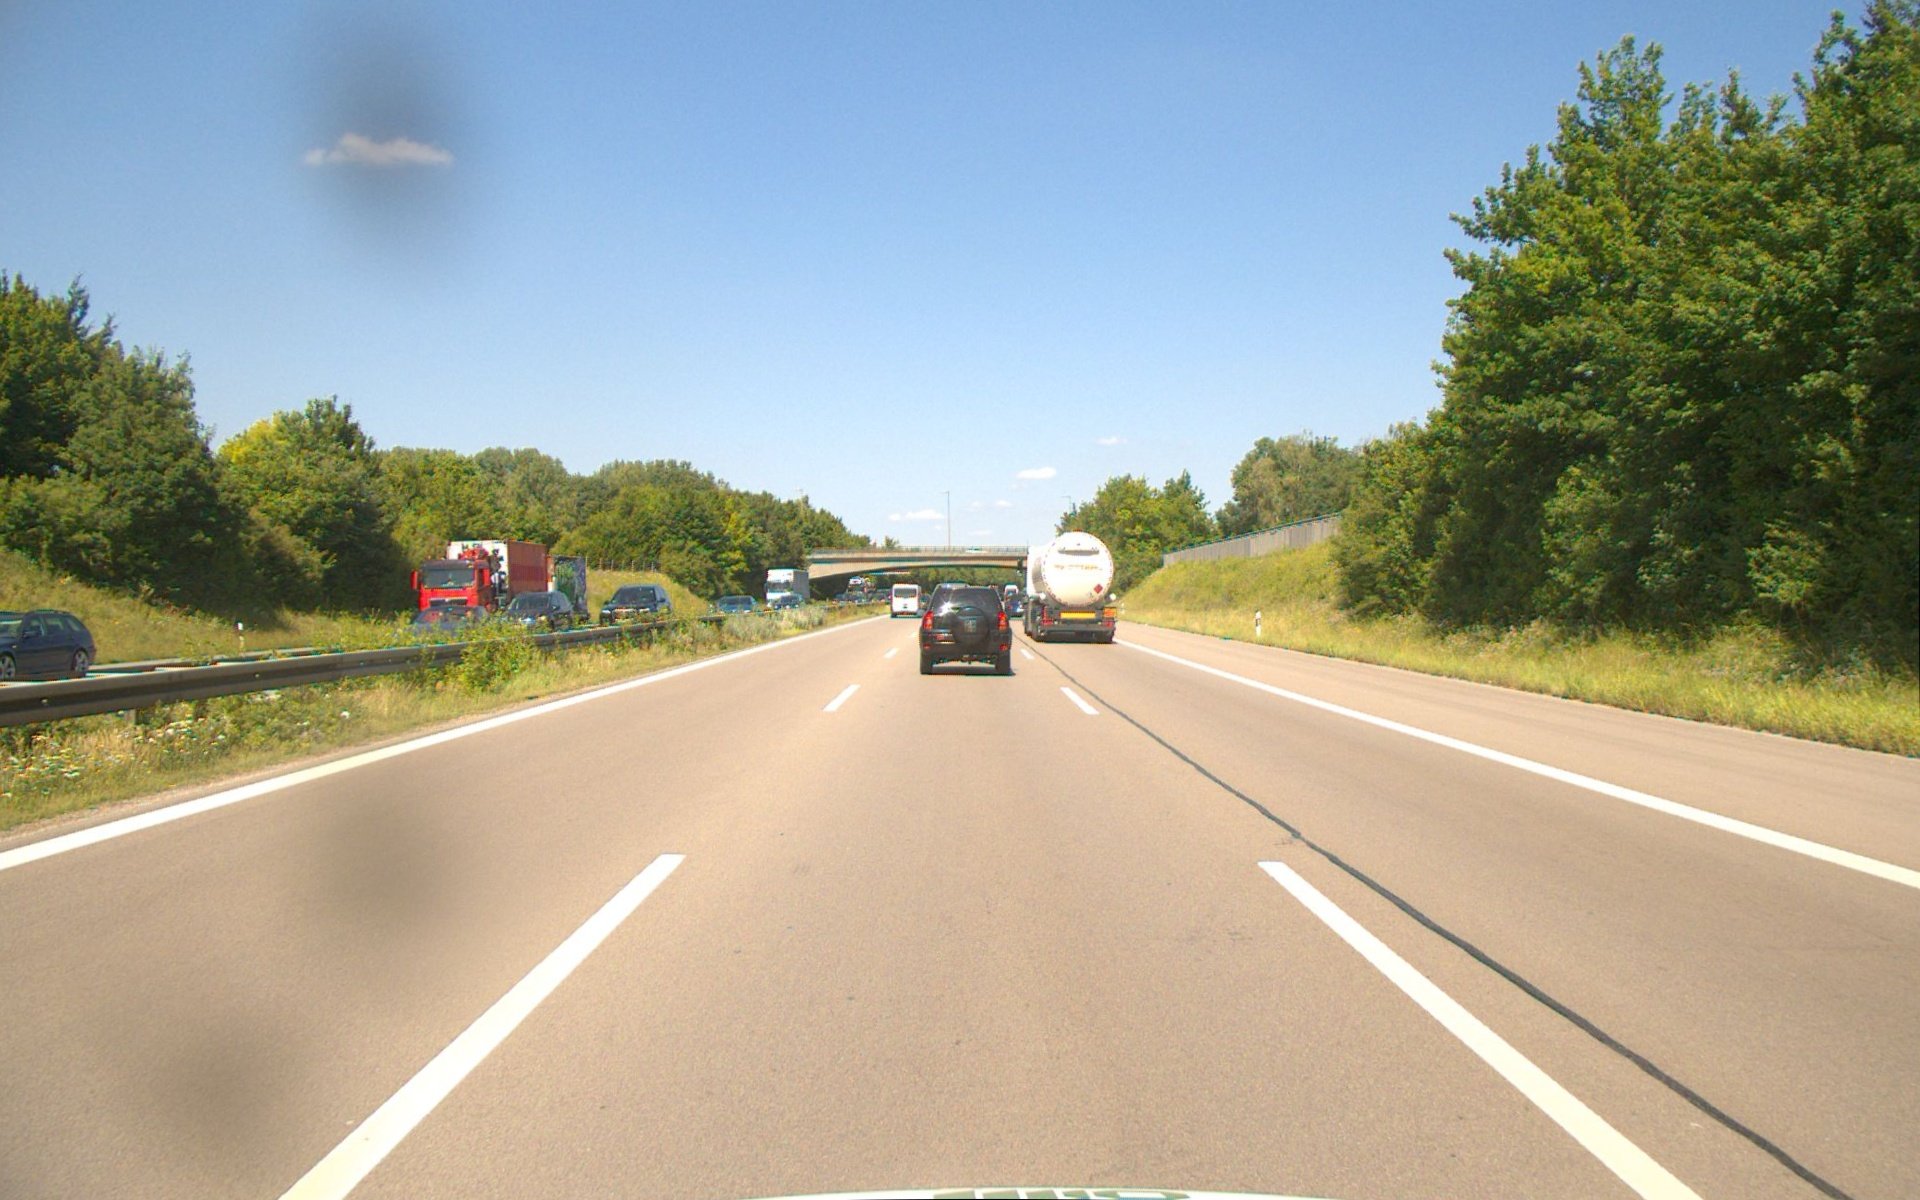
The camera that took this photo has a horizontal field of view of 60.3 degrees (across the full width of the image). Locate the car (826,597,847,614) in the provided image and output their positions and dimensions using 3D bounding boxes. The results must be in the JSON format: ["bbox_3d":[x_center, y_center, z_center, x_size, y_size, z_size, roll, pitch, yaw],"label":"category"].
[{"bbox_3d":[-13.708,0.564,184.042,1.952,1.811,4.261,-1,0,1],"label":"car"}]

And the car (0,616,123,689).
[{"bbox_3d":[-19.015,1.028,33.361,1.711,1.320,5.061,-1,0,-1],"label":"car"}]

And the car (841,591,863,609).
[{"bbox_3d":[-10.312,-0.017,158.643,1.820,1.628,4.720,-1,0,-1],"label":"car"}]

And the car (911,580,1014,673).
[{"bbox_3d":[0.065,0.486,32.358,1.867,1.694,4.000,0,0,0],"label":"car"}]

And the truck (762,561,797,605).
[{"bbox_3d":[-17.984,-1.681,165.005,2.617,4.149,6.076,-2,0,0],"label":"truck"}]

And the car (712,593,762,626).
[{"bbox_3d":[-11.224,0.453,83.509,1.795,1.593,4.956,-1,0,0],"label":"car"}]

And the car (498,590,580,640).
[{"bbox_3d":[-15.134,0.497,59.683,1.953,1.719,4.264,-1,0,-2],"label":"car"}]

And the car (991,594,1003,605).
[{"bbox_3d":[5.708,-0.097,255.852,1.775,1.777,4.000,-1,0,0],"label":"car"}]

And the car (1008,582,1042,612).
[{"bbox_3d":[3.840,-0.157,98.204,1.952,1.713,4.000,0,-1,1],"label":"car"}]

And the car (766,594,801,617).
[{"bbox_3d":[-11.928,0.355,112.178,1.857,1.452,4.763,-3,0,-1],"label":"car"}]

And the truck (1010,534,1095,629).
[{"bbox_3d":[3.442,-0.670,62.985,2.585,3.434,6.484,1,0,-2],"label":"truck"}]

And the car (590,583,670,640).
[{"bbox_3d":[-11.626,0.385,58.568,1.953,1.898,4.897,-1,0,-2],"label":"car"}]

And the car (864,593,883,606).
[{"bbox_3d":[-9.813,-0.065,188.310,1.836,1.464,5.018,-1,0,0],"label":"car"}]

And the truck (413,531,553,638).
[{"bbox_3d":[-18.714,-0.585,65.601,2.624,3.835,9.918,-2,0,0],"label":"truck"}]

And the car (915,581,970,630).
[{"bbox_3d":[-0.670,0.191,62.371,1.953,1.736,4.335,-1,0,-1],"label":"car"}]

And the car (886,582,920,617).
[{"bbox_3d":[-3.520,-0.019,102.680,1.953,2.049,4.949,-1,0,0],"label":"car"}]

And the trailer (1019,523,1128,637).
[{"bbox_3d":[3.677,-0.632,56.086,2.595,3.449,11.148,0,0,-2],"label":"trailer"}]

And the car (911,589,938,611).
[{"bbox_3d":[-2.696,-0.018,125.342,1.953,1.579,3.998,0,-1,-2],"label":"car"}]

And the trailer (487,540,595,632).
[{"bbox_3d":[-18.734,-0.607,74.510,2.624,3.835,8.406,-2,0,0],"label":"trailer"}]

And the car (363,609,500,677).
[{"bbox_3d":[-11.436,0.896,36.063,1.633,1.340,4.120,-1,0,0],"label":"car"}]

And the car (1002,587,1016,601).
[{"bbox_3d":[6.881,-0.840,230.787,1.775,1.777,4.000,-1,0,0],"label":"car"}]
